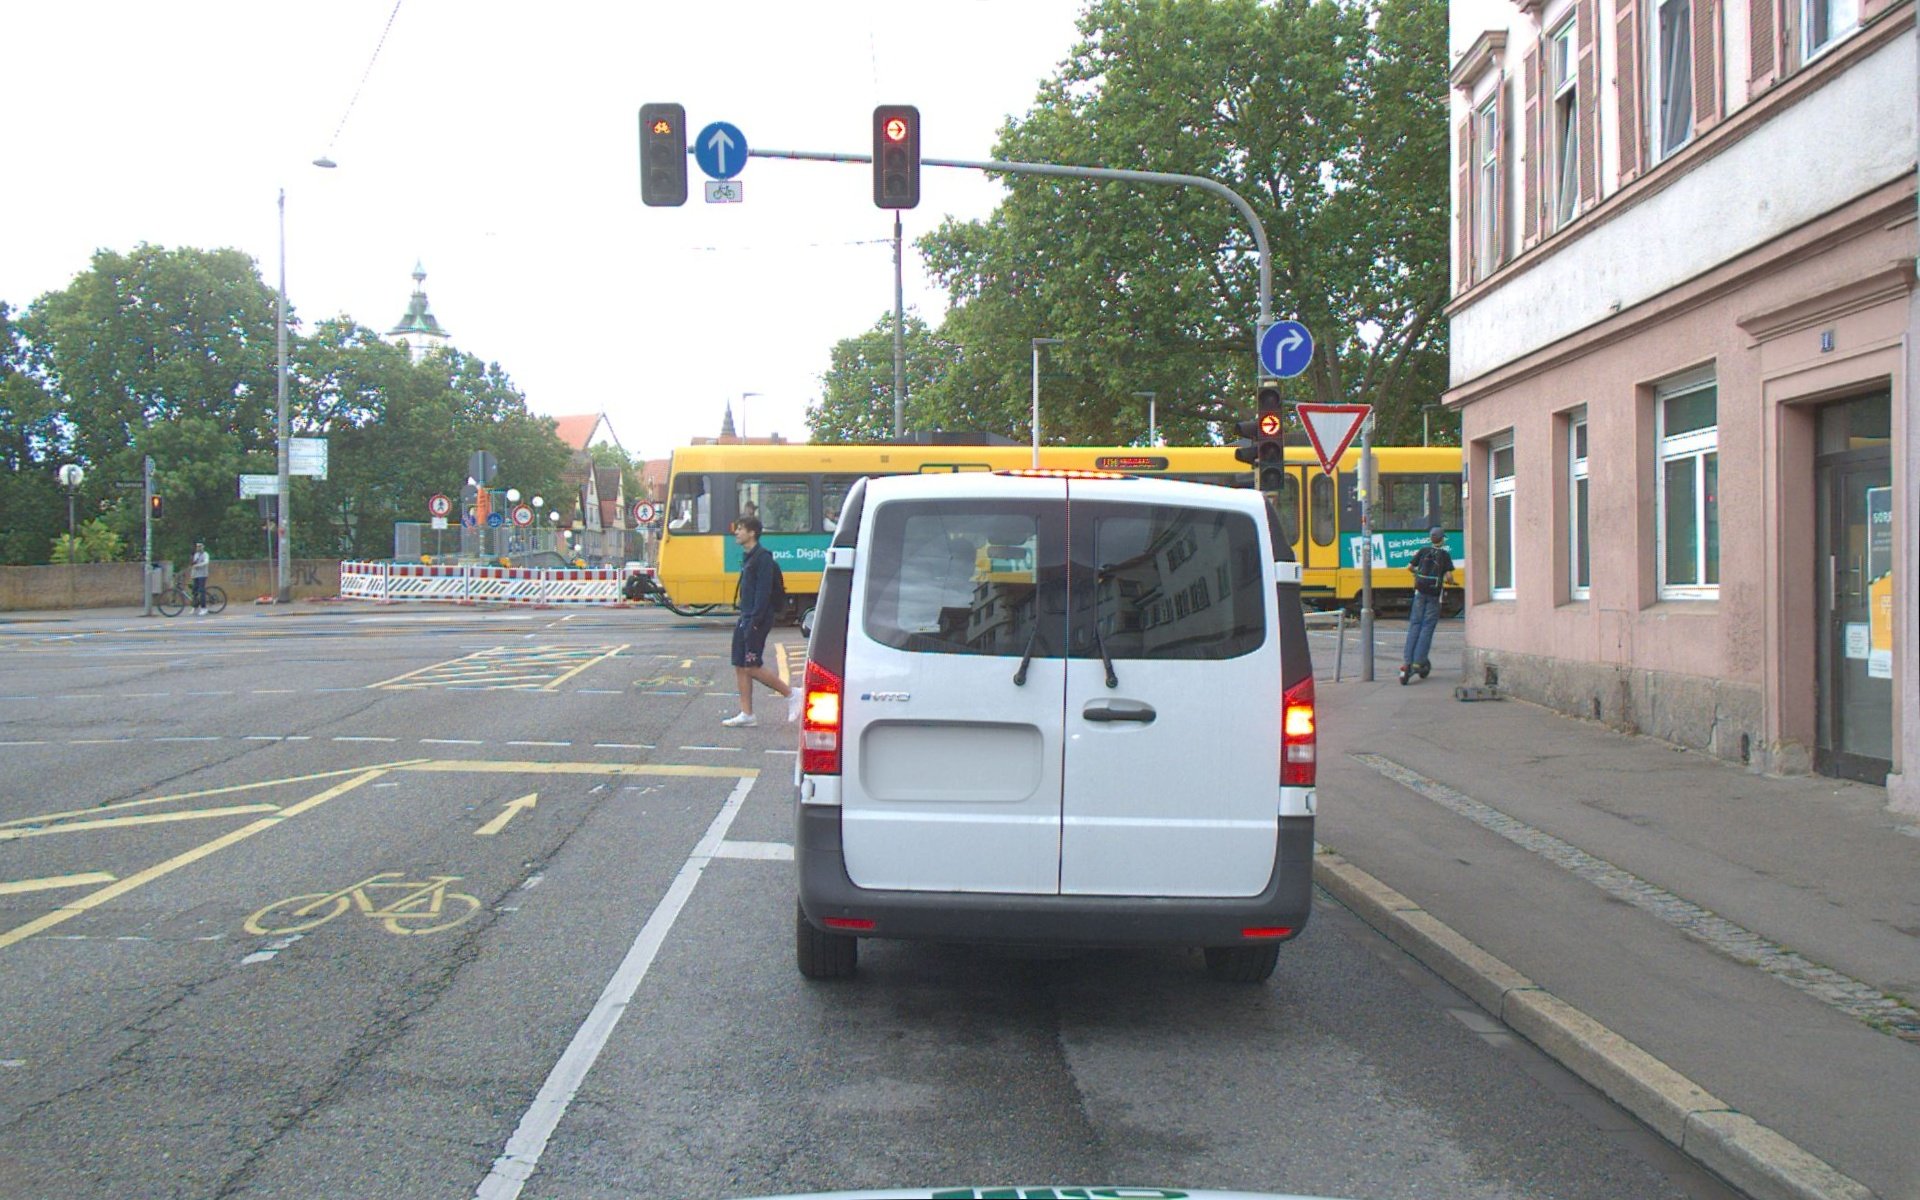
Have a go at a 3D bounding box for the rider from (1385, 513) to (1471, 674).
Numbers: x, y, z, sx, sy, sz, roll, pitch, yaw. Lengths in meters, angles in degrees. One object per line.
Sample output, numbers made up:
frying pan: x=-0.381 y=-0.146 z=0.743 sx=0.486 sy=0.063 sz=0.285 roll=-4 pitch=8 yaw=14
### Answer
rider: x=5.660 y=-0.087 z=19.976 sx=0.705 sy=1.879 sz=0.796 roll=-4 pitch=0 yaw=32

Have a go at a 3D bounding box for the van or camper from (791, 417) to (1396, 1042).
van or camper: x=0.317 y=0.389 z=7.466 sx=1.899 sy=1.958 sz=4.438 roll=1 pitch=1 yaw=-3

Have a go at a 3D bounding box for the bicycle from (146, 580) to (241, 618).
bicycle: x=-19.742 y=-0.037 z=42.626 sx=2.118 sy=0.907 sz=0.749 roll=-1 pitch=2 yaw=-41

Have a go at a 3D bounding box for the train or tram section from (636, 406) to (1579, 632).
train or tram section: x=3.073 y=-1.751 z=34.166 sx=18.860 sy=4.072 sz=3.305 roll=-1 pitch=3 yaw=-7

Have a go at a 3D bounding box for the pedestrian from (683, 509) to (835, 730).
pedestrian: x=-1.791 y=0.145 z=14.801 sx=1.143 sy=1.888 sz=0.669 roll=-2 pitch=2 yaw=-40

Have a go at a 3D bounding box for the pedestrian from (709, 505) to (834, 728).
pedestrian: x=-1.696 y=0.150 z=14.869 sx=0.988 sy=1.948 sz=0.622 roll=1 pitch=0 yaw=-19

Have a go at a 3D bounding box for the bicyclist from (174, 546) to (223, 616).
bicyclist: x=-19.654 y=-0.489 z=42.692 sx=0.995 sy=1.774 sz=0.744 roll=0 pitch=1 yaw=-40

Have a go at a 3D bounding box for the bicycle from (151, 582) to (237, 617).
bicycle: x=-19.683 y=-0.023 z=42.518 sx=0.551 sy=0.881 sz=1.937 roll=0 pitch=1 yaw=45
